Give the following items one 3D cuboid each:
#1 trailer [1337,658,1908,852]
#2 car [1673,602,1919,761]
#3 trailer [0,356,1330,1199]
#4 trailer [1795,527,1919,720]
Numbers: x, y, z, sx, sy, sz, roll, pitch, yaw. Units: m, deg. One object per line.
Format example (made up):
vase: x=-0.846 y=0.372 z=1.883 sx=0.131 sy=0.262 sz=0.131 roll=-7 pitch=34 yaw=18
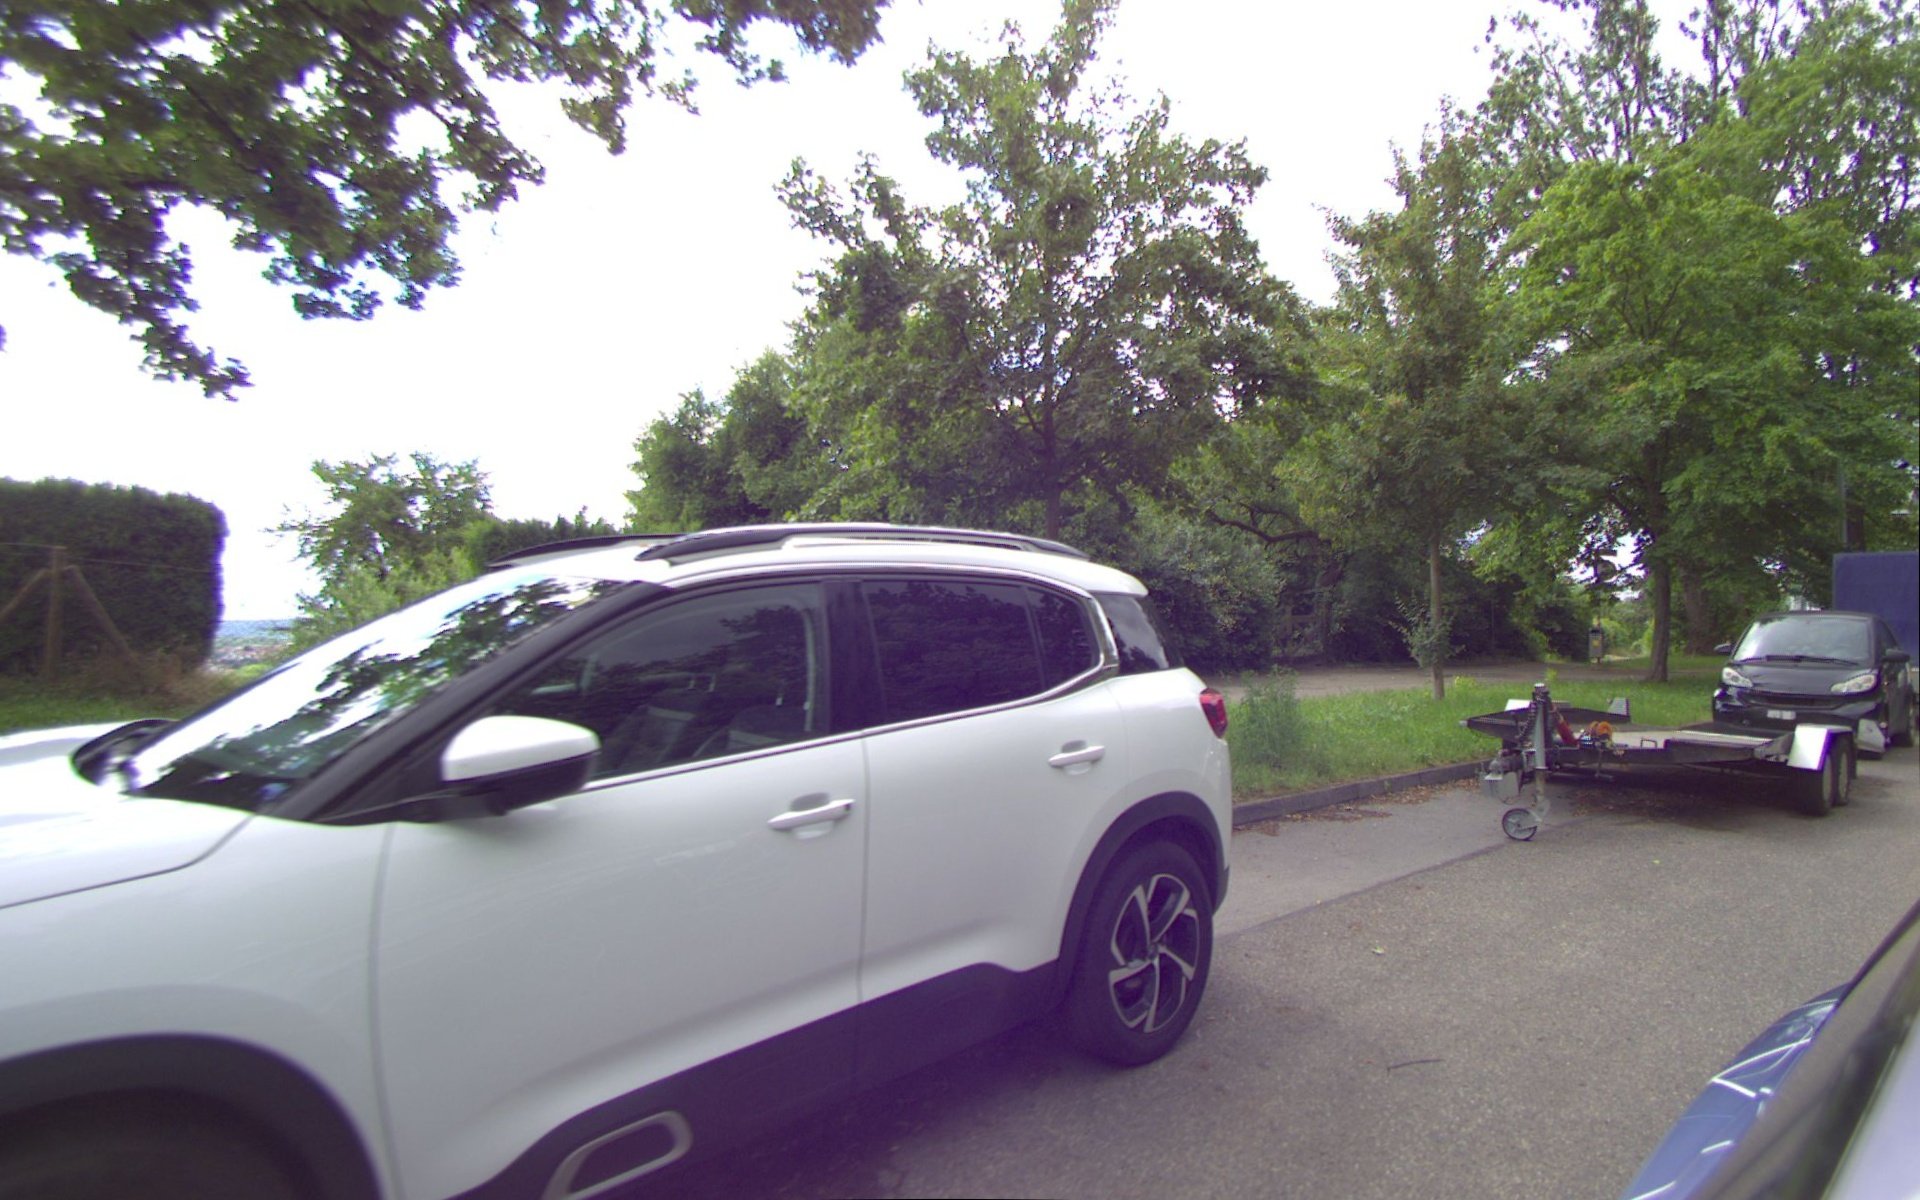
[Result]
trailer: x=5.589 y=0.953 z=8.009 sx=6.288 sy=0.659 sz=2.108 roll=0 pitch=0 yaw=-40
car: x=9.874 y=0.802 z=11.600 sx=3.340 sy=1.542 sz=1.735 roll=0 pitch=0 yaw=-35
trailer: x=-0.911 y=0.515 z=2.853 sx=4.572 sy=1.752 sz=1.775 roll=-1 pitch=2 yaw=-43
trailer: x=13.678 y=0.364 z=14.070 sx=4.613 sy=2.391 sz=2.113 roll=2 pitch=0 yaw=-37
